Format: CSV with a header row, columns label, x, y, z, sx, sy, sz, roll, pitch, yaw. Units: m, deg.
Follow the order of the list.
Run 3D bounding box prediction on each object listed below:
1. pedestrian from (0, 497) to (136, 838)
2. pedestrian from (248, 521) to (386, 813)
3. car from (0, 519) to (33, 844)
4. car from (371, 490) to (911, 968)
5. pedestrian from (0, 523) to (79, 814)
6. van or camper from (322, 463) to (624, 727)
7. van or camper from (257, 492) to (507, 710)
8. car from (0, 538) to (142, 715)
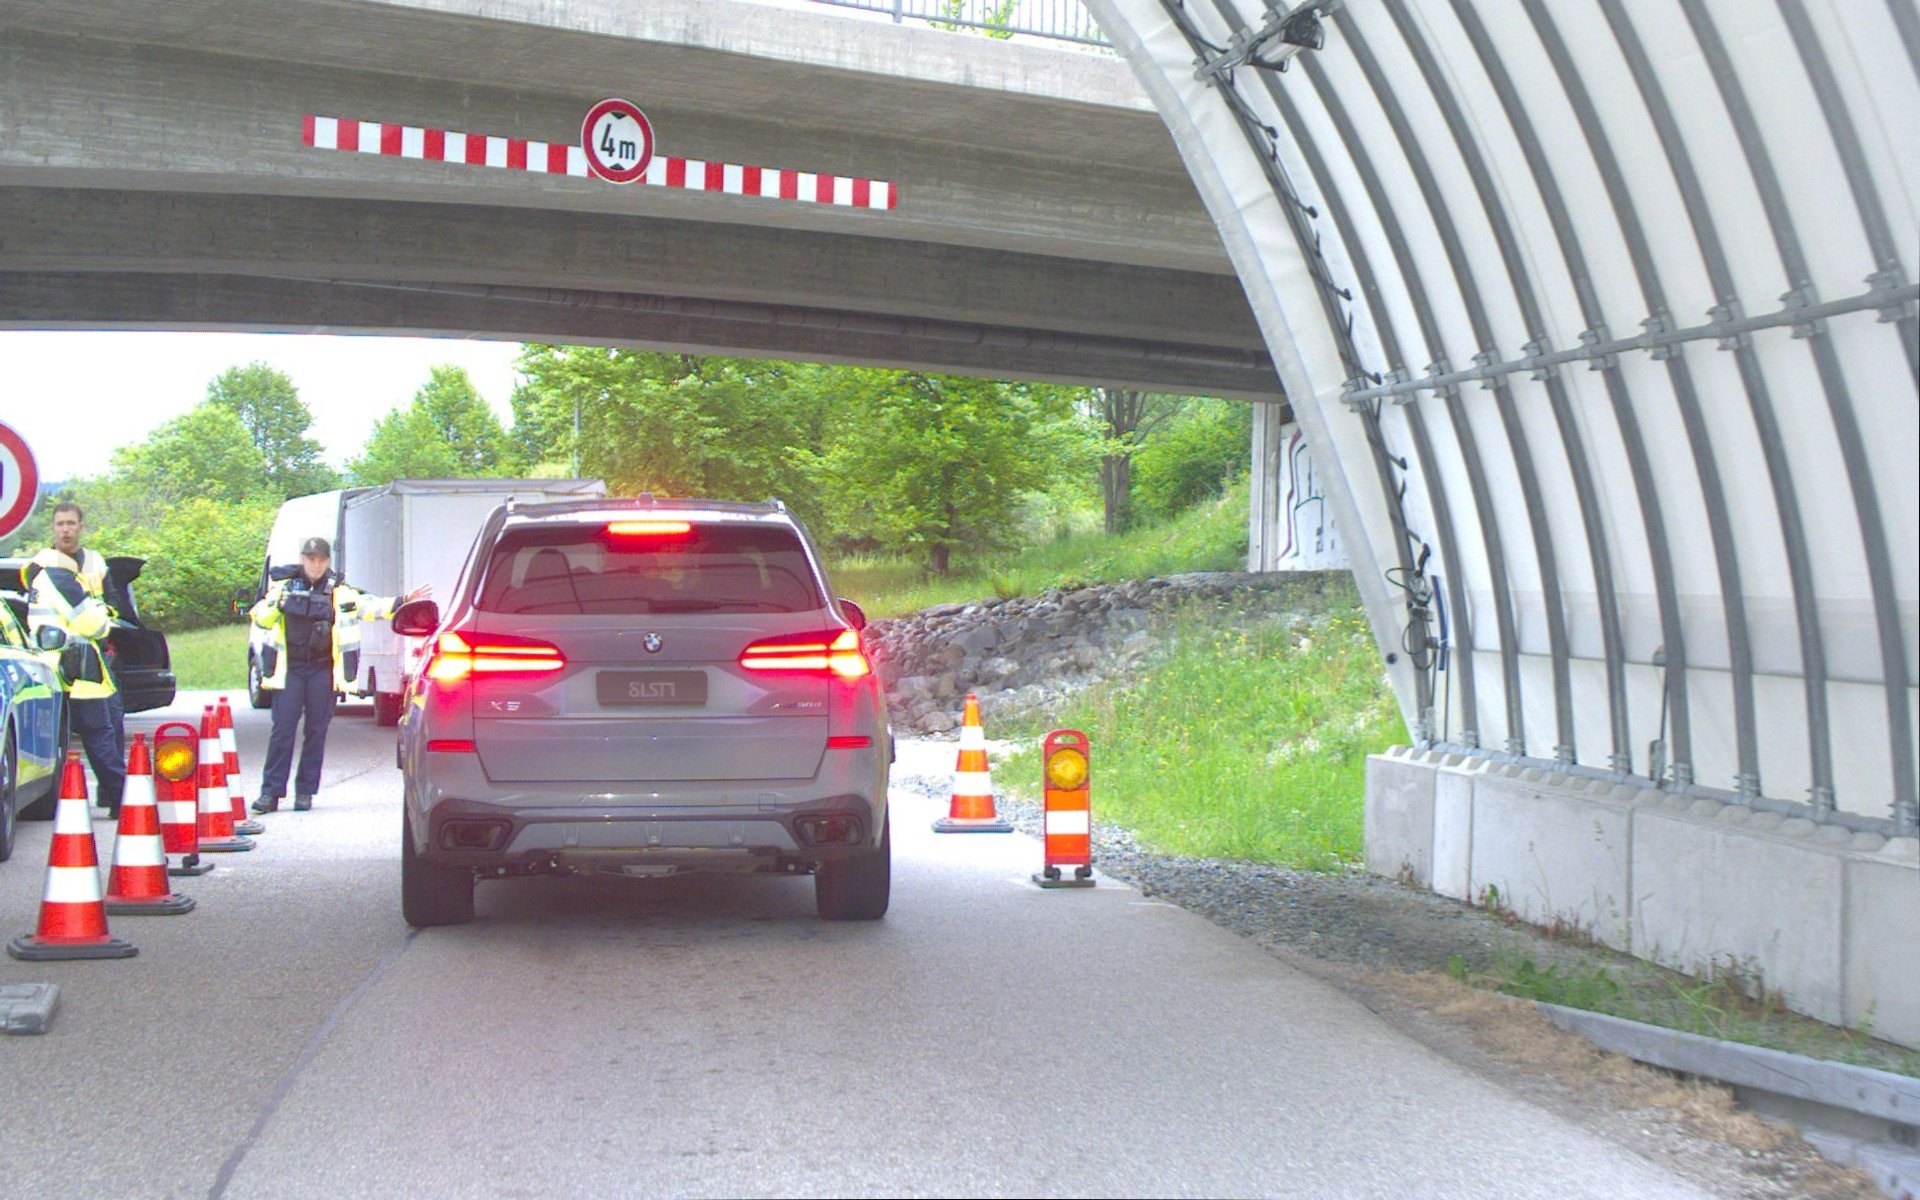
label,x,y,z,sx,sy,sz,roll,pitch,yaw
pedestrian,-5.152,0.378,19.789,0.749,1.912,0.763,-1,0,-12
pedestrian,-3.878,0.390,20.761,0.779,1.716,0.757,-1,0,-10
car,-5.869,0.420,17.639,1.877,1.641,4.001,-1,1,-11
car,-1.404,0.463,14.901,1.993,1.759,4.001,-1,1,-6
pedestrian,-5.764,0.410,20.980,0.609,1.748,0.666,-1,0,-3
van or camper,-5.318,-0.076,36.671,2.229,2.543,6.613,-1,1,-16
van or camper,-7.222,-0.021,42.478,2.103,2.510,5.553,-1,1,-20
car,-12.260,0.309,40.370,4.808,2.007,1.840,0,0,10
